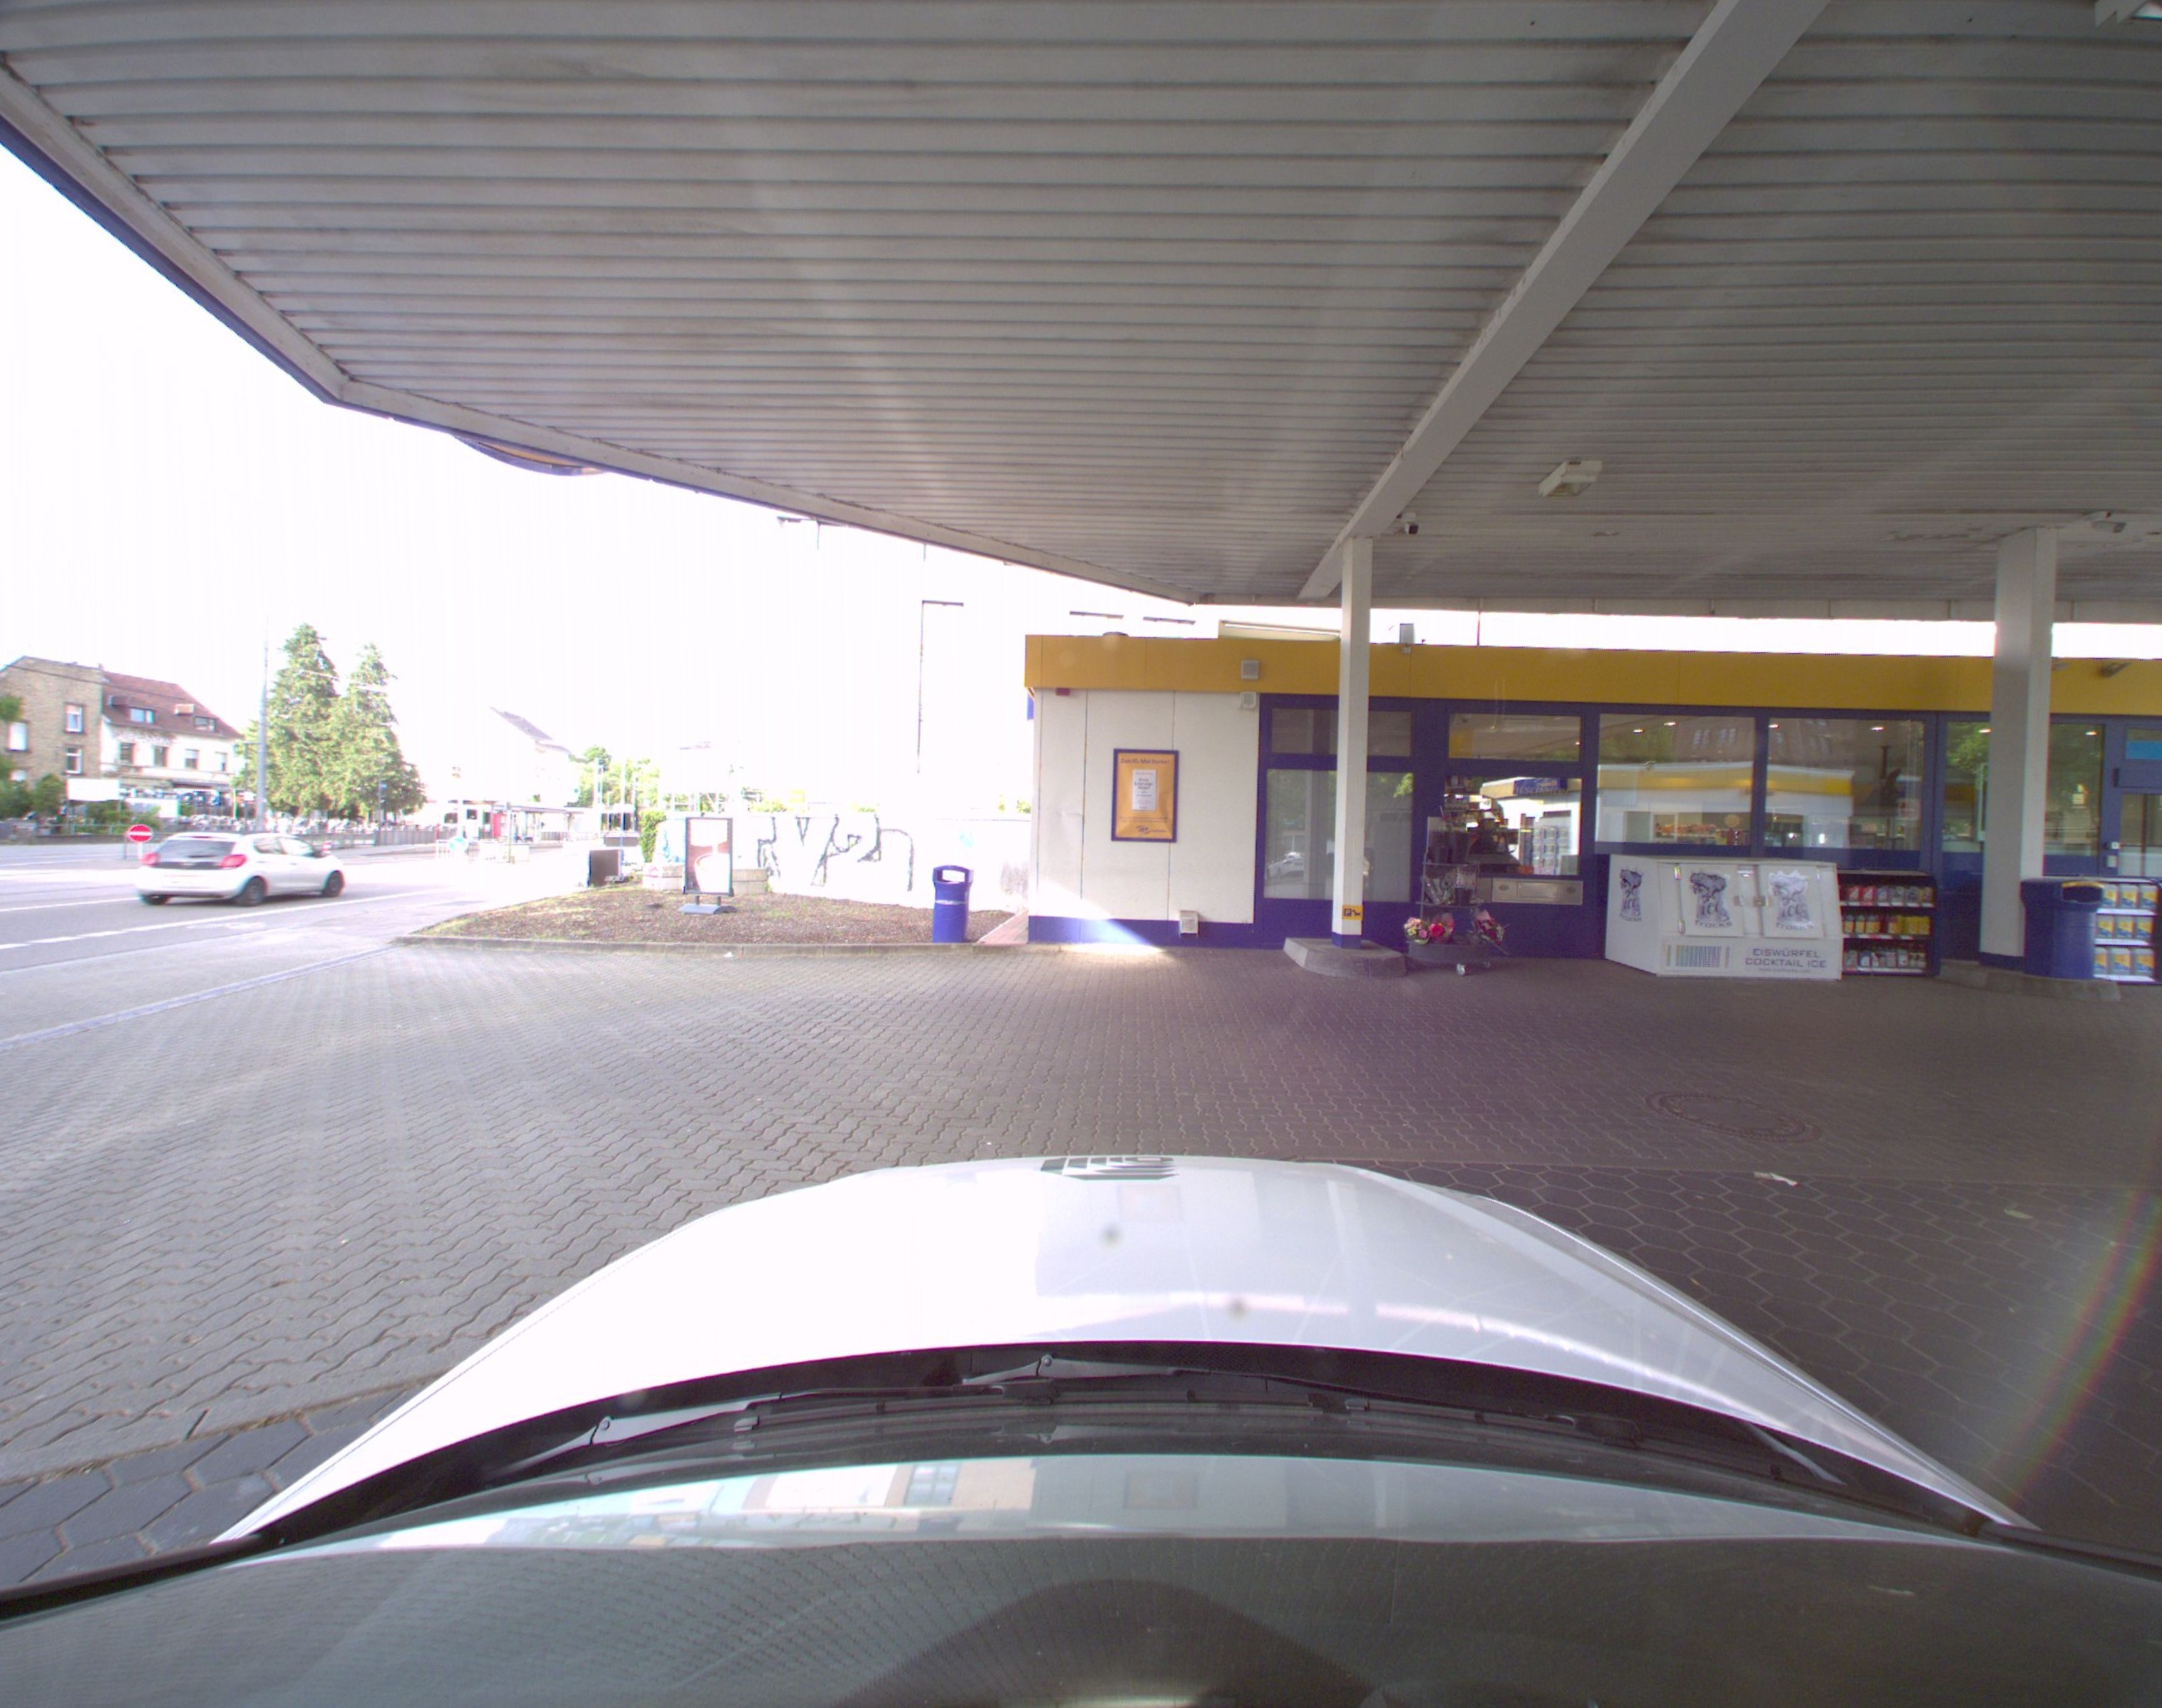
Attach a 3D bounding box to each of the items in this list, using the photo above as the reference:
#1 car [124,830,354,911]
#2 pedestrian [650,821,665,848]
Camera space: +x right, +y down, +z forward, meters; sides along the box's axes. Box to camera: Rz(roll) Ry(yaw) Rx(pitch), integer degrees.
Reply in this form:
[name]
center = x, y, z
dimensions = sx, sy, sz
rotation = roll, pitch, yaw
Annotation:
[car]
center = -17.077, 0.275, 16.770
dimensions = 1.687, 1.433, 3.411
rotation = 3, 1, -14
[pedestrian]
center = -31.666, -1.466, 60.902
dimensions = 0.807, 2.014, 0.846
rotation = 0, -1, -14
